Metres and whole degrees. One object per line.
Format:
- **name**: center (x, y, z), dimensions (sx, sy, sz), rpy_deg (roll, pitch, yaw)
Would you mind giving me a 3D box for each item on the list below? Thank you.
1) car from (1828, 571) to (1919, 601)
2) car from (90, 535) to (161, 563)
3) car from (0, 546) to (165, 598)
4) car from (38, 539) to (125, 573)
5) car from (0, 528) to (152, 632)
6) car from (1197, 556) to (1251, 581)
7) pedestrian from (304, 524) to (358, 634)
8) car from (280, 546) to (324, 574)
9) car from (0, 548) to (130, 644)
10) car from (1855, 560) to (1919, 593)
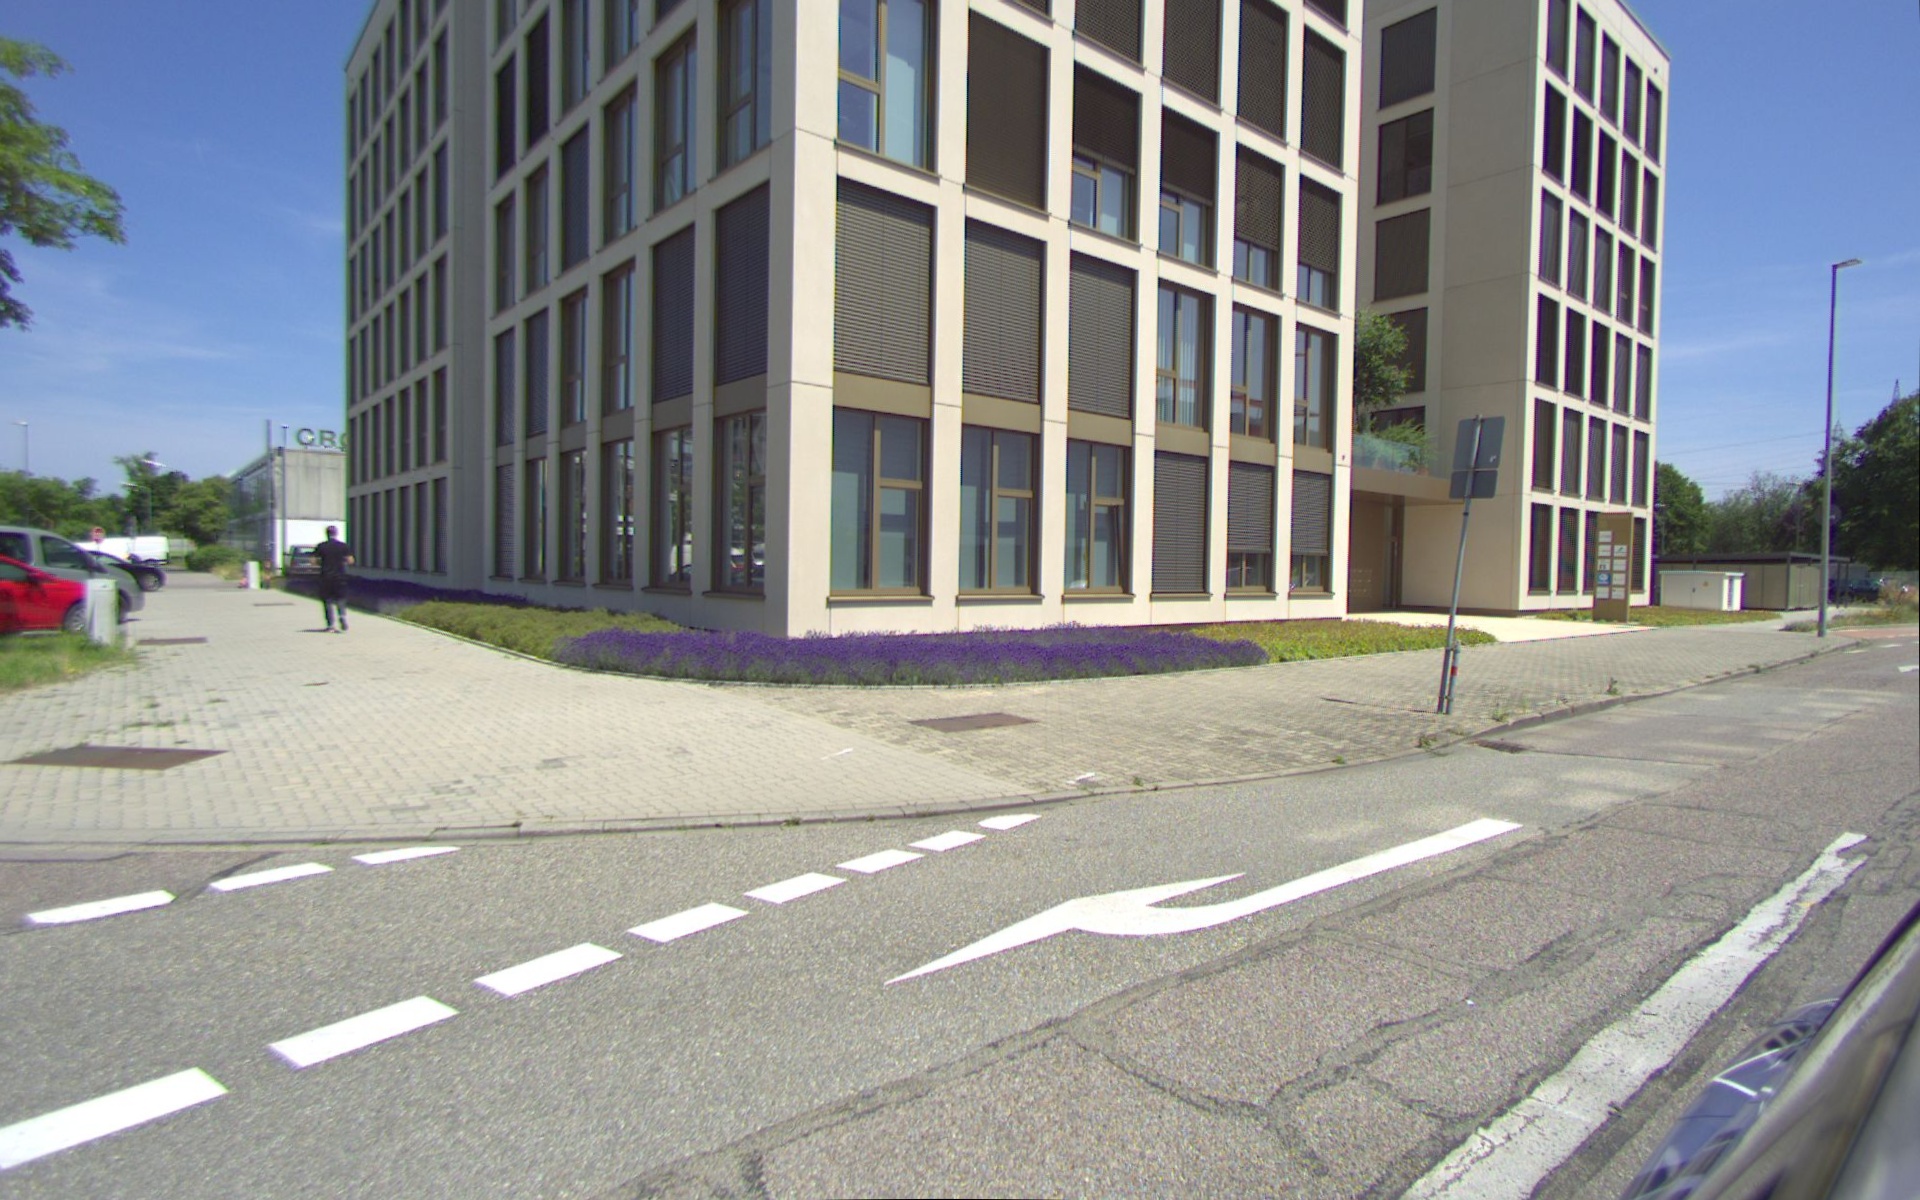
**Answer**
- **car**: center (55.714, -0.890, 61.580), dimensions (3.960, 1.682, 1.822), rpy_deg (2, 3, 26)
- **car**: center (-67.476, -4.091, 81.917), dimensions (4.280, 2.146, 2.094), rpy_deg (0, 3, -37)
- **car**: center (-29.161, -0.977, 33.503), dimensions (1.792, 1.557, 4.131), rpy_deg (0, 3, 19)
- **car**: center (-54.940, -2.732, 63.356), dimensions (3.925, 2.038, 2.000), rpy_deg (0, 2, -36)
- **car**: center (-17.699, -0.390, 18.429), dimensions (1.676, 1.837, 4.899), rpy_deg (1, 2, 7)
- **car**: center (21.033, -2.512, 80.560), dimensions (3.921, 1.874, 2.002), rpy_deg (0, 3, -31)
- **pedestrian**: center (-11.026, -0.388, 17.747), dimensions (0.758, 1.867, 0.869), rpy_deg (-1, 3, -32)
- **car**: center (-37.931, -2.313, 58.313), dimensions (1.758, 1.540, 3.574), rpy_deg (-1, 3, -39)
- **car**: center (-15.382, -0.080, 15.589), dimensions (1.584, 1.452, 3.991), rpy_deg (1, 3, 9)
- **car**: center (59.214, -1.475, 63.560), dimensions (3.958, 1.977, 1.984), rpy_deg (2, 2, 25)
